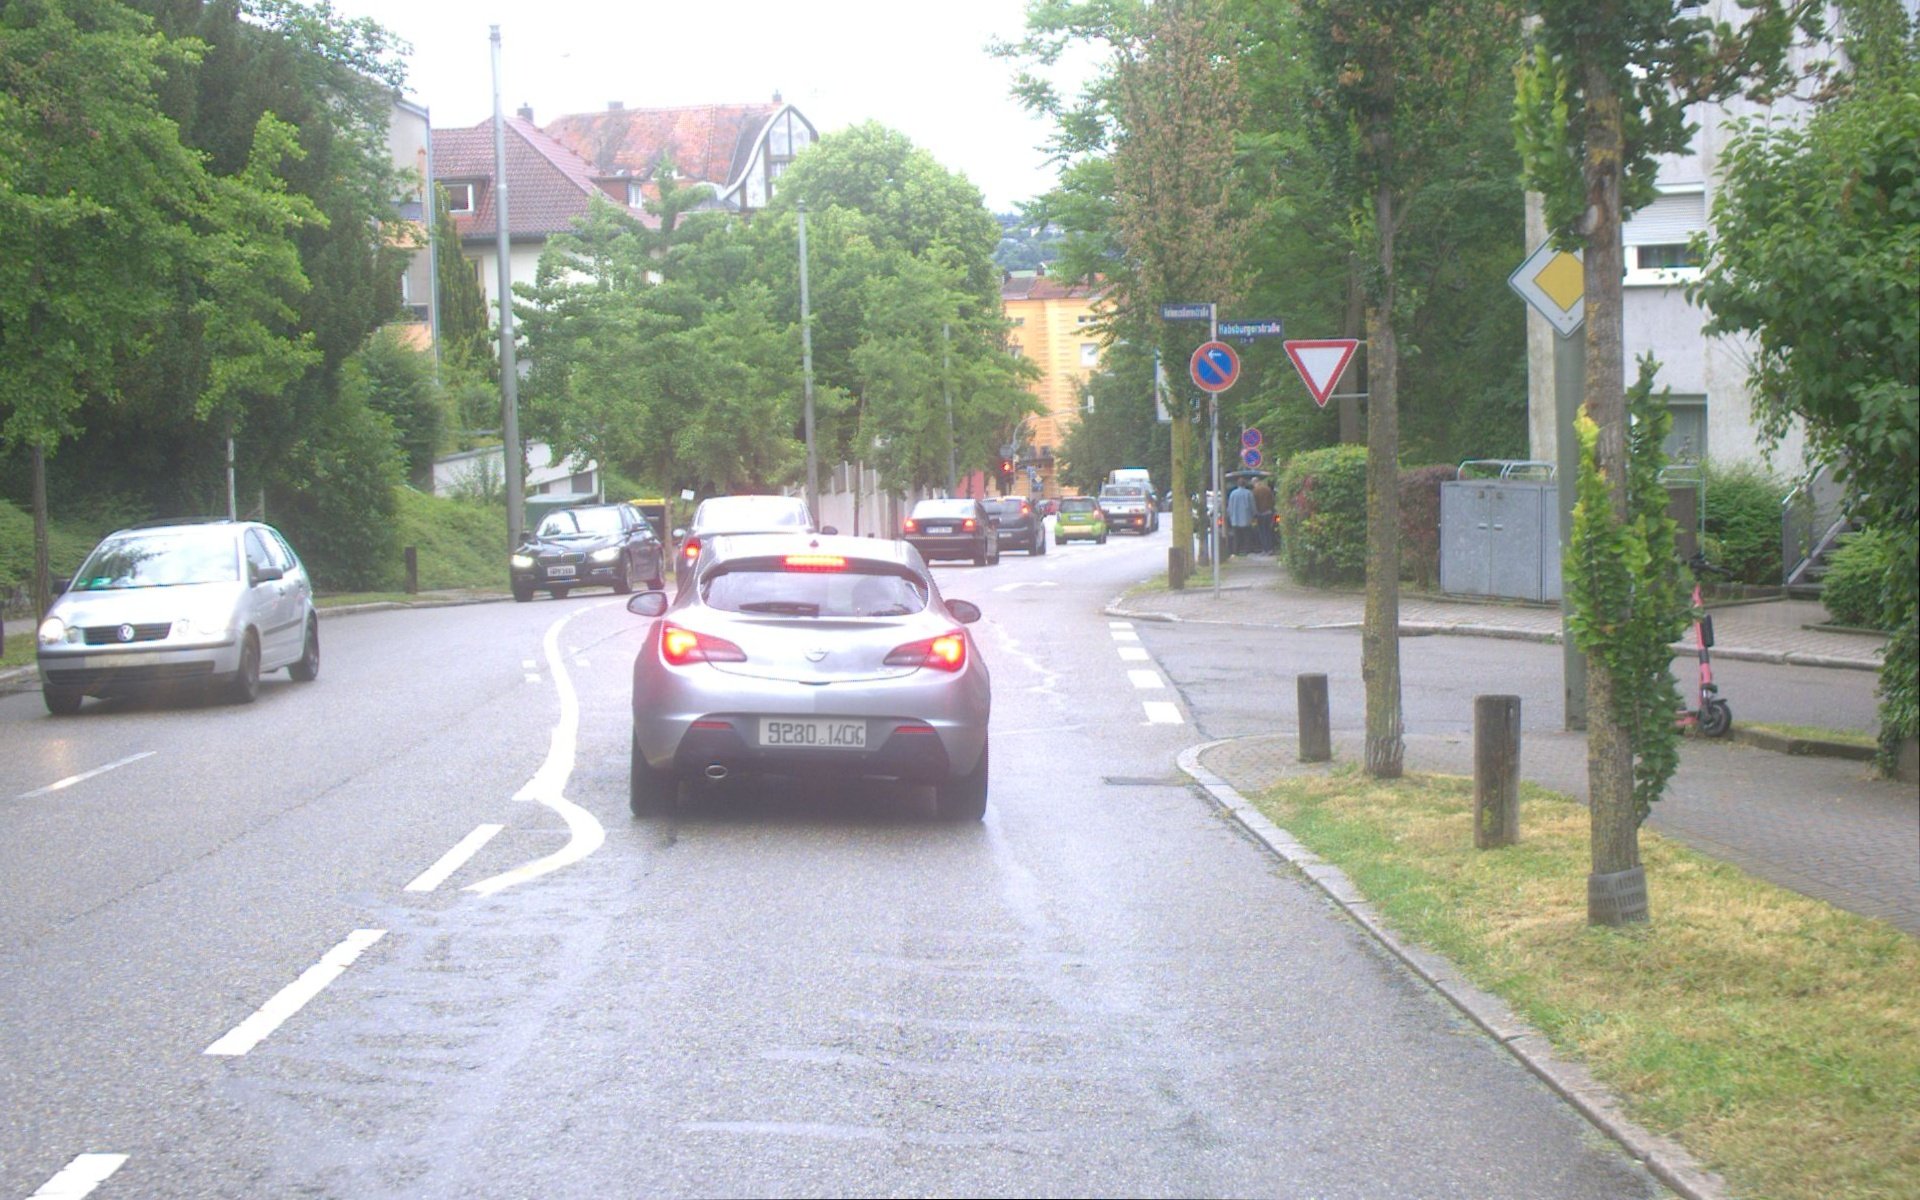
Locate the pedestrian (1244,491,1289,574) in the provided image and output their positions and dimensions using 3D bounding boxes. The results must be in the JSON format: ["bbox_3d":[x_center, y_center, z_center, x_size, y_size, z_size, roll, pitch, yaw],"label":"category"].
[{"bbox_3d":[6.899,-1.516,77.408,0.663,1.830,0.689,-4,2,-18],"label":"pedestrian"}]

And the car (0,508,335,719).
[{"bbox_3d":[-6.447,0.056,28.305,1.765,1.481,3.801,-3,2,1],"label":"car"}]

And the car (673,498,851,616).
[{"bbox_3d":[-2.282,-0.530,40.505,1.798,1.318,4.000,0,1,1],"label":"car"}]

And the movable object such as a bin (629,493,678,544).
[{"bbox_3d":[-8.374,-2.222,94.044,1.272,1.382,0.489,0,2,4],"label":"movable object such as a bin"}]

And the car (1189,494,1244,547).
[{"bbox_3d":[10.441,-3.239,139.656,1.994,2.029,4.734,2,2,6],"label":"car"}]

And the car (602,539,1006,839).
[{"bbox_3d":[-0.796,0.403,18.758,1.945,1.427,3.884,1,1,-1],"label":"car"}]

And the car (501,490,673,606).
[{"bbox_3d":[-5.742,-0.828,53.467,1.911,1.579,4.587,-4,1,2],"label":"car"}]

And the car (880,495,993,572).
[{"bbox_3d":[-0.454,-1.390,70.728,1.961,1.467,3.951,2,2,4],"label":"car"}]

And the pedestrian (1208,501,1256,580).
[{"bbox_3d":[6.096,-1.341,77.071,0.734,1.718,0.765,-4,2,-19],"label":"pedestrian"}]

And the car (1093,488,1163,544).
[{"bbox_3d":[6.462,-3.244,131.636,2.334,2.029,4.734,2,2,7],"label":"car"}]

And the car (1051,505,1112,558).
[{"bbox_3d":[3.952,-2.214,111.001,1.754,1.645,4.000,2,1,4],"label":"car"}]

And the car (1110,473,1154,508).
[{"bbox_3d":[9.243,-5.897,184.263,1.994,1.778,3.999,2,2,7],"label":"car"}]

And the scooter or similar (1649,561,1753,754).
[{"bbox_3d":[4.962,0.367,23.067,0.342,1.250,1.268,1,0,-2],"label":"scooter or similar"}]

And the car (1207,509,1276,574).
[{"bbox_3d":[6.560,-1.365,79.996,1.504,1.430,3.999,-2,1,5],"label":"car"}]

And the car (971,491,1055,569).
[{"bbox_3d":[1.310,-1.729,83.905,1.769,1.775,3.976,2,2,4],"label":"car"}]
